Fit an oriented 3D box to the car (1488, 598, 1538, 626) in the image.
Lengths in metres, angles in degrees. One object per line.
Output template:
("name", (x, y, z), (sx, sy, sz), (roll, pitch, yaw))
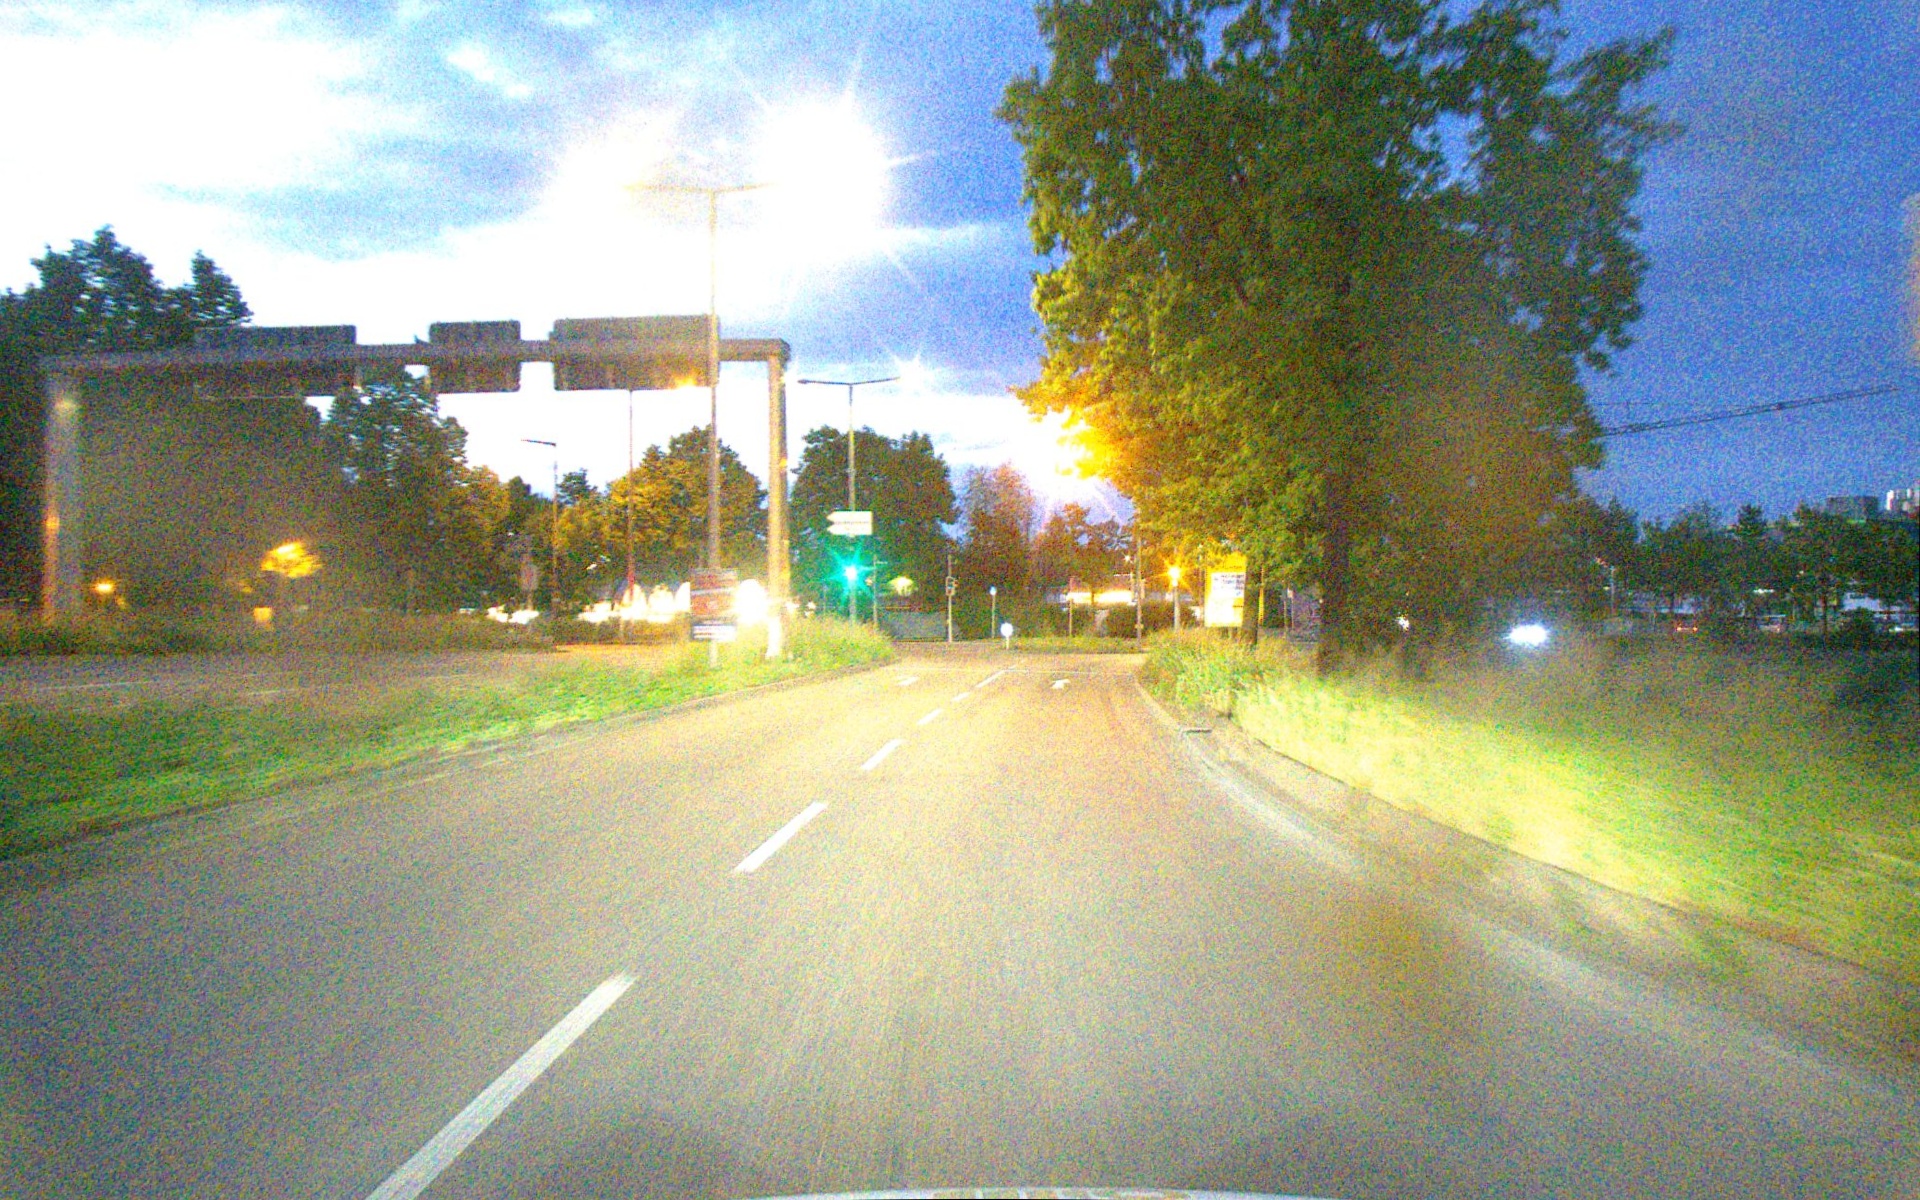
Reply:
("car", (44.076, 0.966, 131.759), (3.962, 2.048, 1.972), (-1, 2, -40))
